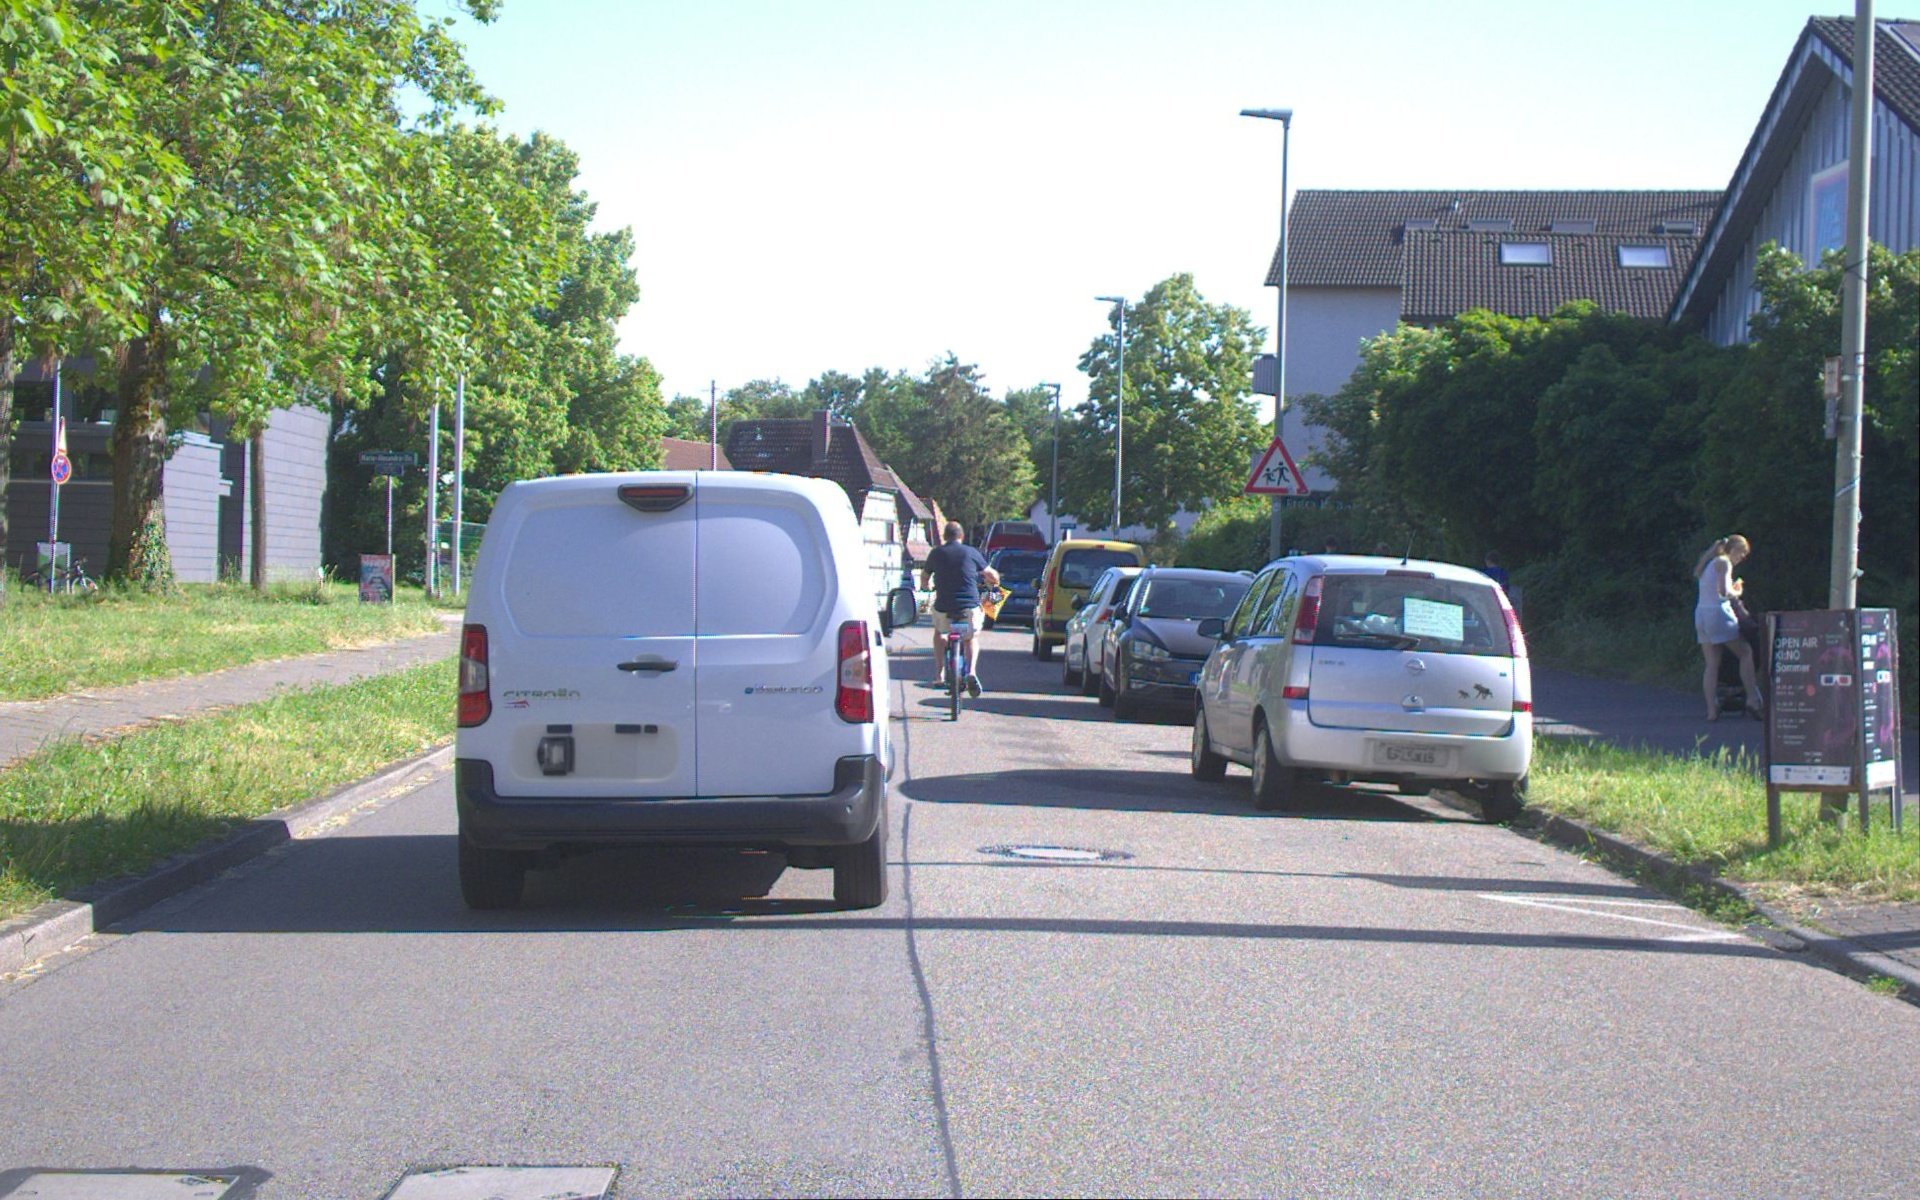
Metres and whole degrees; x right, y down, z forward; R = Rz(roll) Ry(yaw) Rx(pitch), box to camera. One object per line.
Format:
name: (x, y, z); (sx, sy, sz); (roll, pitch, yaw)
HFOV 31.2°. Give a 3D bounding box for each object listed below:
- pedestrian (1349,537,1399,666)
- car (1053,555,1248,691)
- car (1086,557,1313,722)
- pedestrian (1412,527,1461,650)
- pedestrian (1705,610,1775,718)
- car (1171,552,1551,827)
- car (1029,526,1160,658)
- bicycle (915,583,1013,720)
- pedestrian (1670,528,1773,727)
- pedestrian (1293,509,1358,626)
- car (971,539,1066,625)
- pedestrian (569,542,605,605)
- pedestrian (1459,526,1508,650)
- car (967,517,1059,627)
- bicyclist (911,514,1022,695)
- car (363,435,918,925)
pedestrian: (5.312, 0.015, 44.083); (0.567, 1.631, 0.546); (2, 1, 4)
car: (2.153, 0.234, 39.842); (1.826, 1.447, 4.000); (2, 0, -2)
car: (2.277, 0.337, 33.692); (1.807, 1.438, 4.364); (2, 1, -1)
pedestrian: (6.396, -0.161, 46.156); (0.567, 1.631, 0.546); (2, 1, 4)
pedestrian: (7.316, 0.592, 32.275); (0.532, 0.977, 0.810); (2, 1, 7)
car: (2.532, 0.522, 22.620); (1.679, 1.594, 4.029); (2, 0, -5)
car: (1.975, -0.127, 51.296); (1.724, 1.831, 4.000); (2, 0, 0)
bicycle: (0.022, 0.444, 30.973); (0.787, 1.134, 2.280); (1, 1, -2)
pedestrian: (6.966, 0.243, 31.482); (0.798, 1.776, 0.809); (2, 1, 7)
pedestrian: (5.919, -0.523, 55.726); (0.793, 1.855, 0.874); (2, 0, -8)
car: (1.307, -0.400, 78.107); (1.804, 1.779, 4.000); (4, 0, -2)
pedestrian: (-8.586, -0.603, 79.209); (0.510, 1.441, 0.638); (2, 1, 32)
pedestrian: (7.021, -0.162, 46.096); (0.567, 1.631, 0.546); (2, 1, 4)
car: (1.283, -0.675, 85.277); (1.866, 2.554, 4.768); (4, 0, -2)
bicyclist: (0.051, 0.039, 31.025); (0.905, 1.579, 0.966); (2, 0, -2)
car: (-1.288, 0.274, 15.668); (1.993, 1.875, 4.289); (2, 1, 1)
